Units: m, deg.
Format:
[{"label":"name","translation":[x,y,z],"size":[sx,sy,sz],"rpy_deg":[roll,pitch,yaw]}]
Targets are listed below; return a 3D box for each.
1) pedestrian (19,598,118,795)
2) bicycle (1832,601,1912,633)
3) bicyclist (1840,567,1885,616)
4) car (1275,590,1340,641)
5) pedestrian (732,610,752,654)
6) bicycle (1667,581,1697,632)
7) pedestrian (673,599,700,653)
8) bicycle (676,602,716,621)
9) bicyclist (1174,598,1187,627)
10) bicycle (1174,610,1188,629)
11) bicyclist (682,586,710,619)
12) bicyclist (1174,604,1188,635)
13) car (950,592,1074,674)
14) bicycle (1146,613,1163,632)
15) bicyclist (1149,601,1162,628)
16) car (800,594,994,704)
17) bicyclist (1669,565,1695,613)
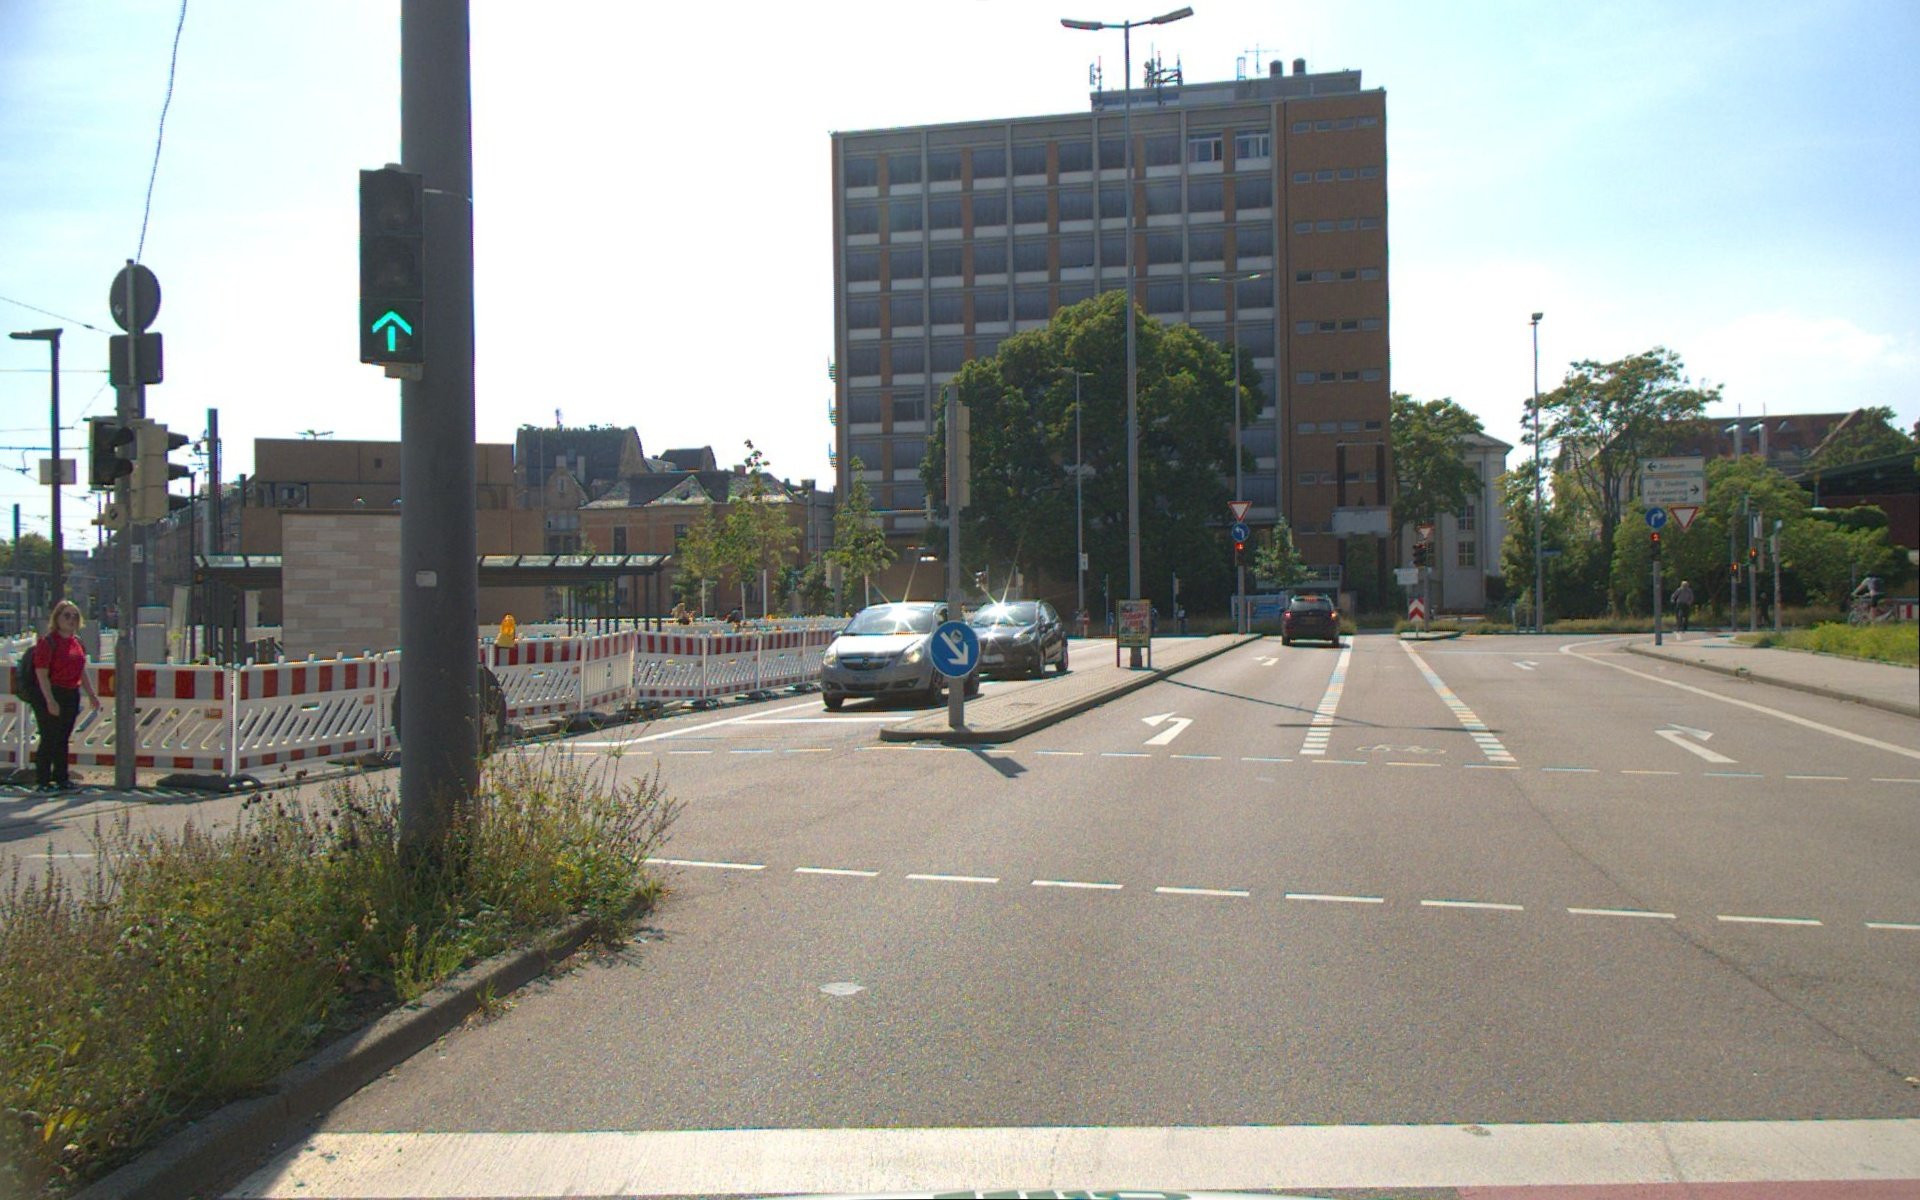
[{"label":"pedestrian","translation":[-7.645,0.813,14.195],"size":[0.342,1.644,0.687],"rpy_deg":[-1,0,15]},{"label":"bicycle","translation":[28.190,0.536,51.177],"size":[0.665,0.932,2.148],"rpy_deg":[-1,0,-28]},{"label":"bicyclist","translation":[28.028,-0.268,51.380],"size":[0.489,1.496,1.132],"rpy_deg":[1,-1,-29]},{"label":"car","translation":[10.598,0.456,50.286],"size":[1.742,1.468,3.821],"rpy_deg":[1,0,14]},{"label":"pedestrian","translation":[-7.616,1.108,57.807],"size":[0.618,1.518,0.616],"rpy_deg":[-1,0,-2]},{"label":"bicycle","translation":[26.002,0.235,59.594],"size":[0.663,1.796,1.812],"rpy_deg":[-2,0,14]},{"label":"pedestrian","translation":[-9.287,0.907,56.223],"size":[0.721,1.783,1.110],"rpy_deg":[-1,-3,-2]},{"label":"bicycle","translation":[-12.271,0.537,76.957],"size":[1.853,0.806,0.560],"rpy_deg":[-1,1,27]},{"label":"bicyclist","translation":[11.737,0.672,87.967],"size":[0.605,1.468,0.921],"rpy_deg":[-4,-1,9]},{"label":"bicycle","translation":[11.758,1.034,87.961],"size":[0.605,0.977,1.970],"rpy_deg":[-4,-1,9]},{"label":"bicyclist","translation":[-12.281,0.119,76.960],"size":[1.142,1.500,0.563],"rpy_deg":[-2,0,27]},{"label":"bicyclist","translation":[11.758,1.034,87.961],"size":[0.605,1.609,1.015],"rpy_deg":[-4,-1,9]},{"label":"car","translation":[1.066,0.587,32.001],"size":[1.631,1.476,3.821],"rpy_deg":[0,0,14]},{"label":"bicycle","translation":[10.696,1.232,90.821],"size":[0.689,0.994,2.032],"rpy_deg":[-2,0,12]},{"label":"bicyclist","translation":[10.728,0.780,90.816],"size":[0.528,1.441,1.031],"rpy_deg":[-2,-1,12]},{"label":"car","translation":[-0.836,0.670,24.525],"size":[1.756,1.436,4.003],"rpy_deg":[-3,0,14]},{"label":"bicyclist","translation":[25.954,-0.404,59.439],"size":[0.663,1.684,0.919],"rpy_deg":[-2,0,14]}]
